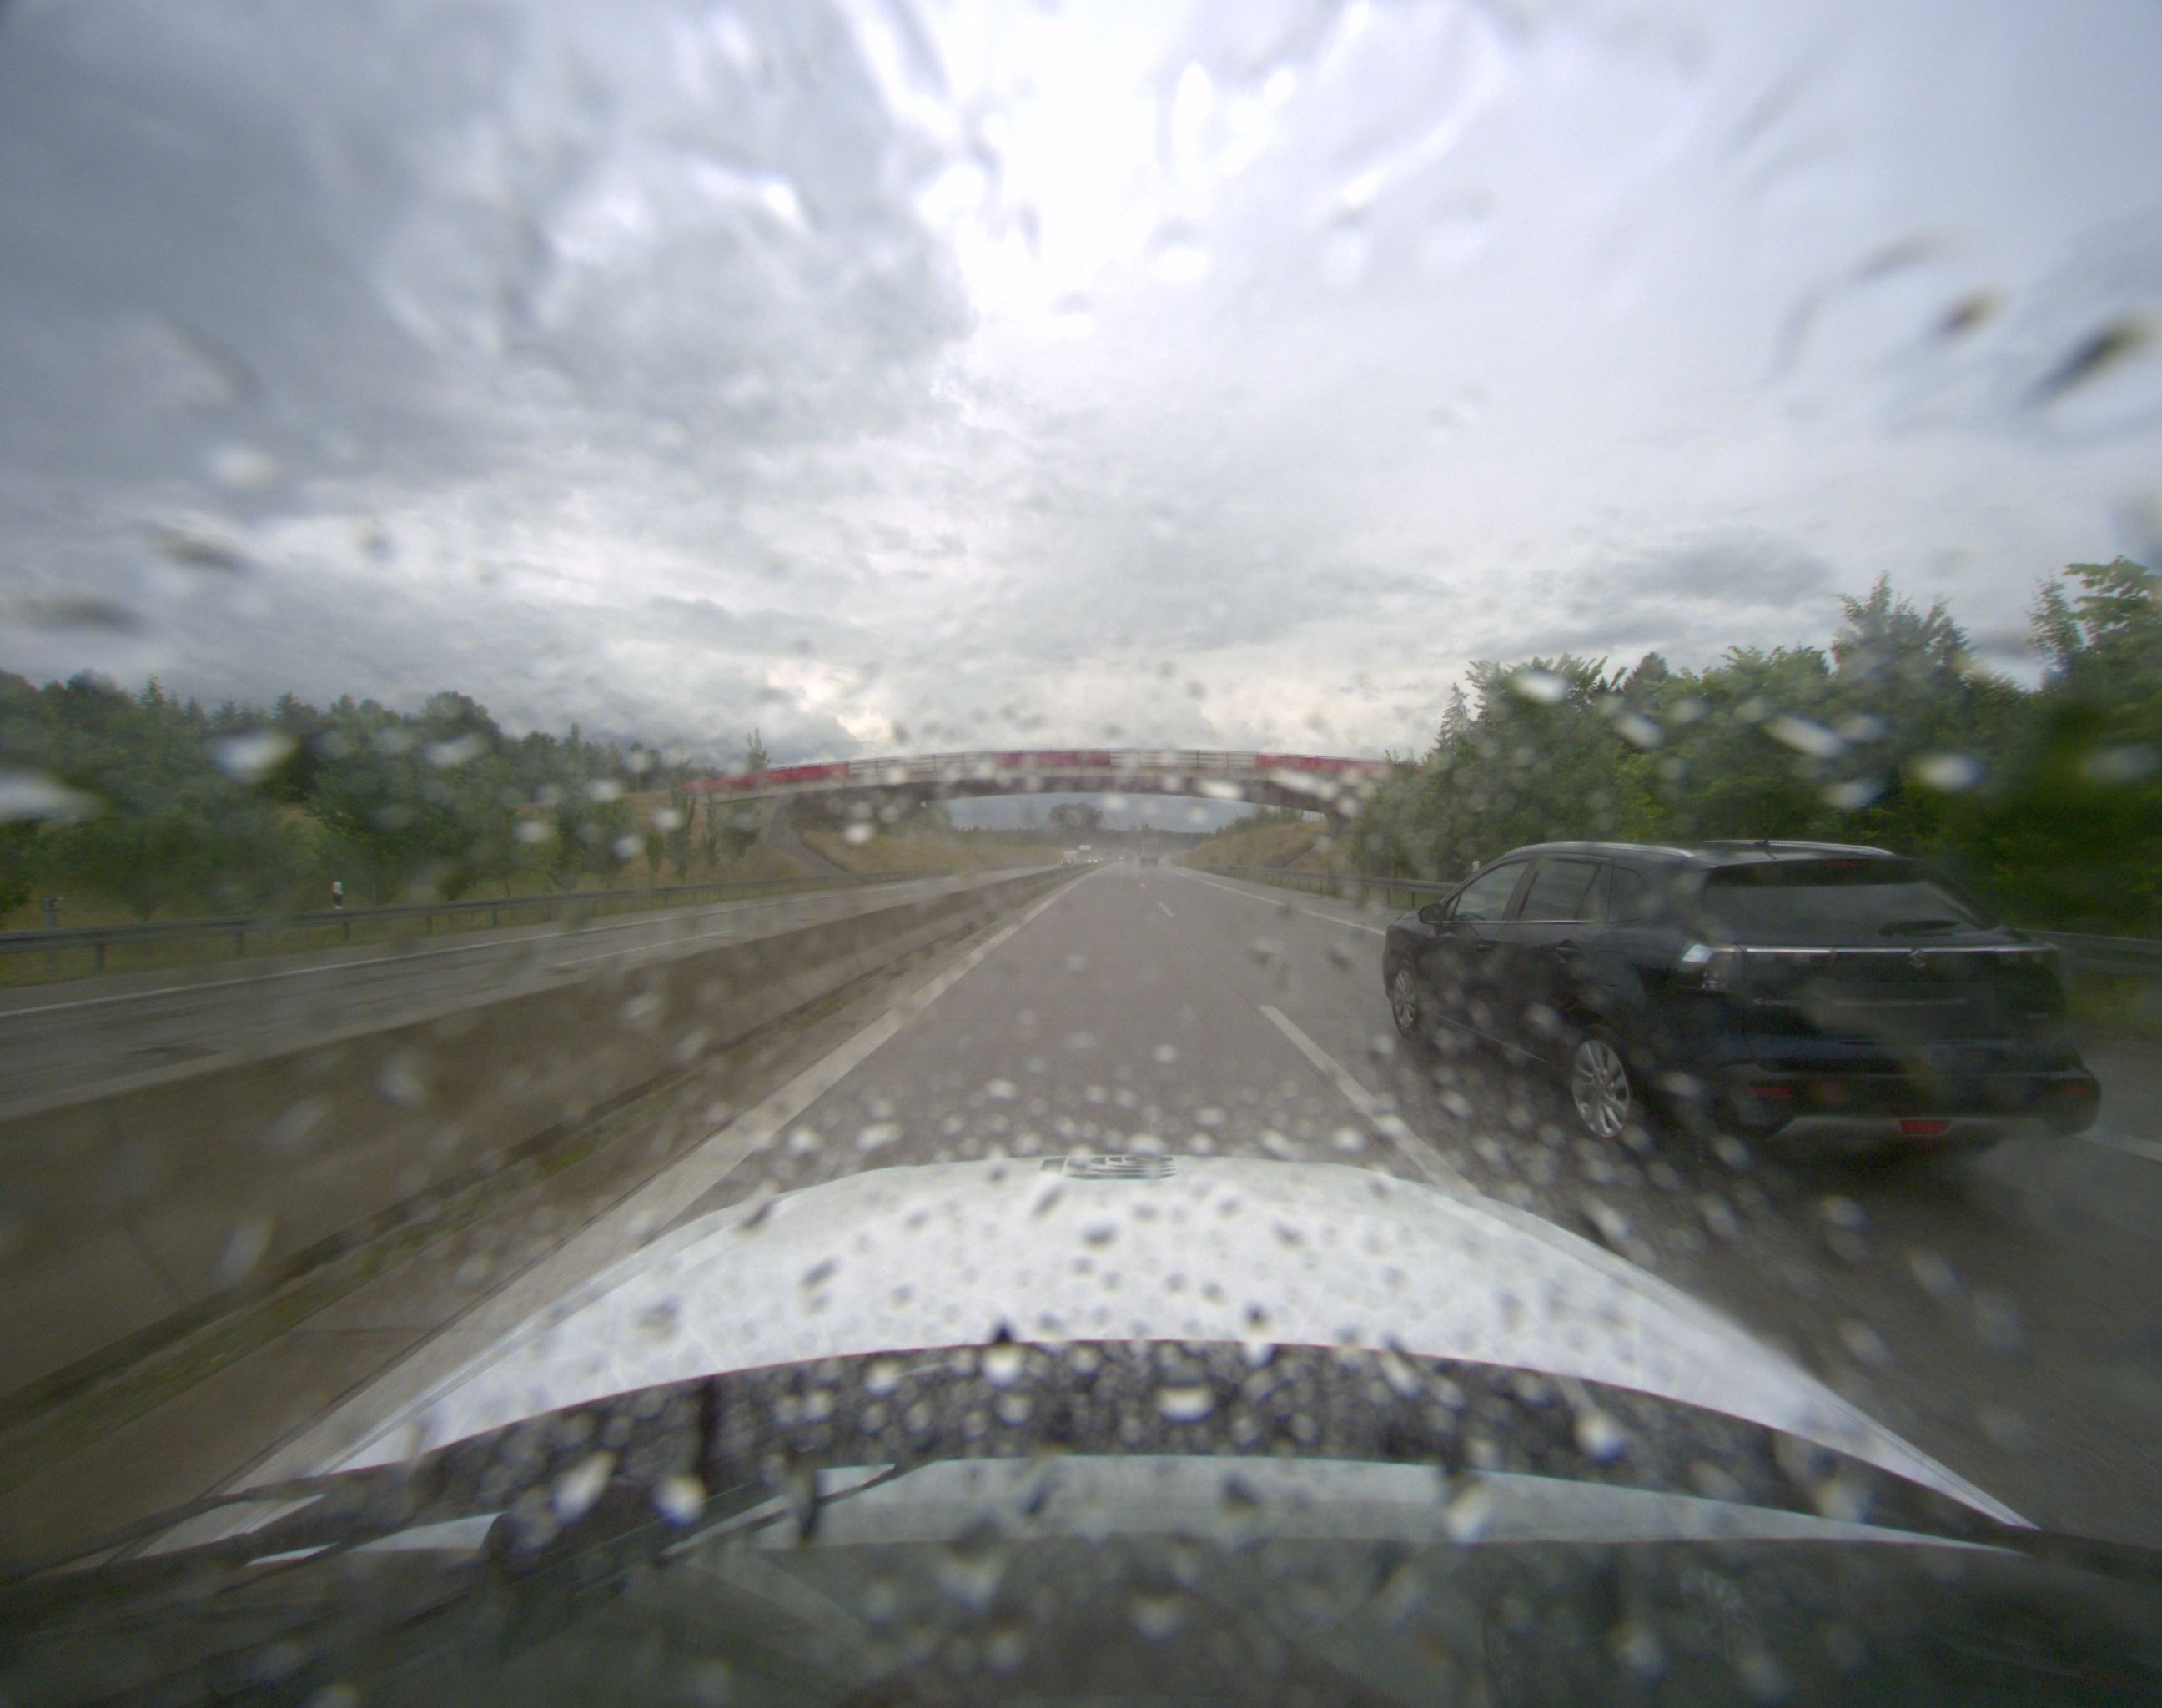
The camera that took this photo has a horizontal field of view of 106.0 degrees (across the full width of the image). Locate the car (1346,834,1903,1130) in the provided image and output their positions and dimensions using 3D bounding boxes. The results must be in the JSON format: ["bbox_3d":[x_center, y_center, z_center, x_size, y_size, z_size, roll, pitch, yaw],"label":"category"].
[{"bbox_3d":[3.489,0.680,6.169,1.887,1.576,3.633,0,0,2],"label":"car"}]

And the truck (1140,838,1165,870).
[{"bbox_3d":[10.317,-0.072,116.320,3.226,4.437,8.262,-1,1,7],"label":"truck"}]
